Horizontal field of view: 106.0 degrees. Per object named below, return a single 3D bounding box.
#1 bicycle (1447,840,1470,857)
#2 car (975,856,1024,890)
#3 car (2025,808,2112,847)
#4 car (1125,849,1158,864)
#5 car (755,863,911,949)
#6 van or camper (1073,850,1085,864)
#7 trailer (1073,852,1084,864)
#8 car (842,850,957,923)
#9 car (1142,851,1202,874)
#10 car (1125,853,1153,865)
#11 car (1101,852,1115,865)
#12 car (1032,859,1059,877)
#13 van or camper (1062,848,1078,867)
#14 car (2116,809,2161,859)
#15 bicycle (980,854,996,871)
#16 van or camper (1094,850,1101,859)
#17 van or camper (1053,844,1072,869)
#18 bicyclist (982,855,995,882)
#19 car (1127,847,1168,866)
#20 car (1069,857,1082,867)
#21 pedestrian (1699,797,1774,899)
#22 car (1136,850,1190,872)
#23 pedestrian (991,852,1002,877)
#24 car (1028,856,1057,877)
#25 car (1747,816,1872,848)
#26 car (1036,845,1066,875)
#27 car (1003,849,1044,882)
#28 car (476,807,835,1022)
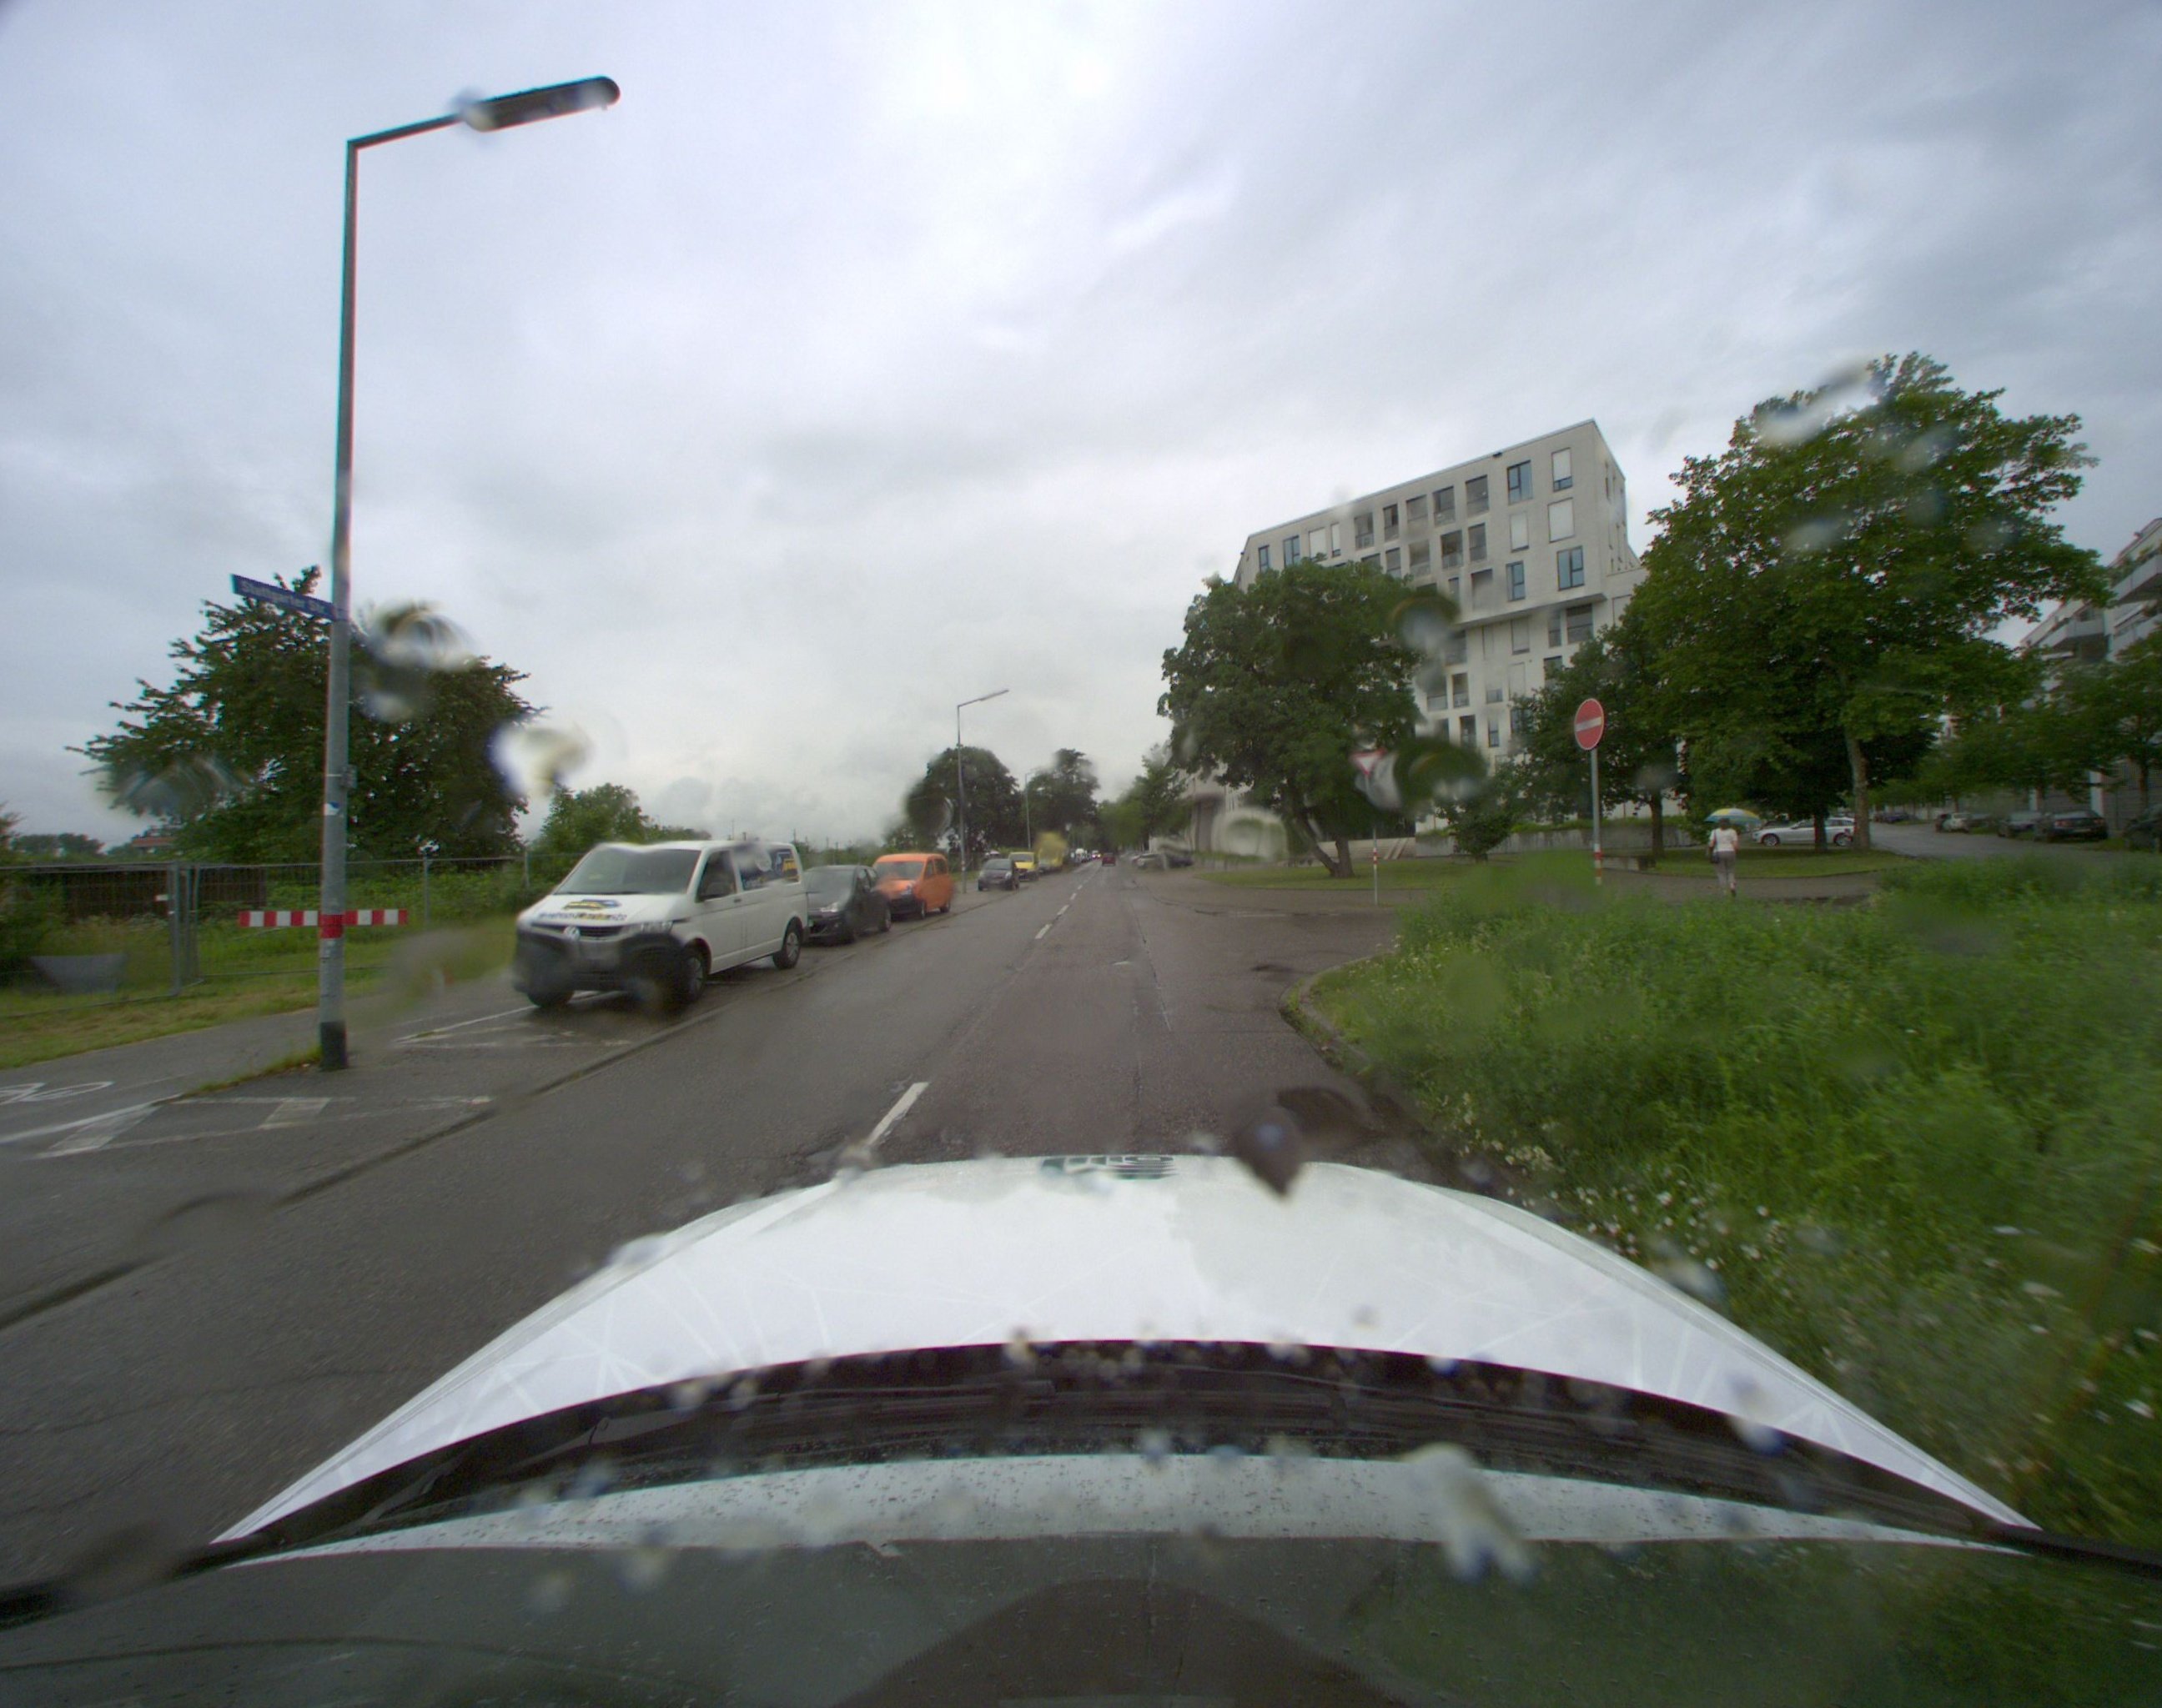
[{"bbox_3d":[23.762,-0.363,51.262,0.716,1.033,2.086,-3,-1,41],"label":"bicycle"},{"bbox_3d":[-3.945,0.900,40.014,1.797,1.561,4.035,0,0,2],"label":"car"},{"bbox_3d":[45.176,-1.243,37.354,1.752,1.548,4.171,-5,-1,40],"label":"car"},{"bbox_3d":[8.624,0.399,116.503,4.462,1.687,1.936,-6,0,0],"label":"car"},{"bbox_3d":[-5.141,1.001,17.651,1.677,1.502,4.894,-2,0,2],"label":"car"},{"bbox_3d":[-0.366,0.683,165.491,1.986,2.762,7.902,-1,0,2],"label":"van or camper"},{"bbox_3d":[-0.418,0.748,151.348,2.052,2.218,5.794,-1,0,0],"label":"trailer"},{"bbox_3d":[-4.942,0.832,22.851,1.931,1.767,4.335,-2,0,4],"label":"car"},{"bbox_3d":[7.353,0.671,65.850,4.555,1.497,1.826,-5,-1,0],"label":"car"},{"bbox_3d":[8.611,0.721,121.309,3.973,1.509,1.685,-4,1,1],"label":"car"},{"bbox_3d":[3.641,0.590,110.203,1.748,1.706,4.004,-2,0,3],"label":"car"},{"bbox_3d":[-3.017,1.181,70.343,2.003,1.434,5.341,0,-1,1],"label":"car"},{"bbox_3d":[-1.569,0.520,116.417,2.087,2.716,7.573,0,-1,0],"label":"van or camper"},{"bbox_3d":[35.374,-0.702,26.226,1.712,1.548,4.025,-3,0,41],"label":"car"},{"bbox_3d":[-6.255,0.566,54.863,0.713,1.042,2.146,-2,0,2],"label":"bicycle"},{"bbox_3d":[4.952,0.166,244.882,1.985,2.497,7.183,-3,0,3],"label":"van or camper"},{"bbox_3d":[-2.279,0.353,101.061,2.087,3.094,6.424,0,-1,1],"label":"van or camper"},{"bbox_3d":[-6.244,0.965,54.912,0.695,1.829,1.009,-2,0,2],"label":"bicyclist"},{"bbox_3d":[7.703,0.288,94.797,4.527,1.685,1.885,-7,-1,-1],"label":"car"},{"bbox_3d":[-0.795,1.274,129.157,1.767,1.502,4.830,0,0,2],"label":"car"},{"bbox_3d":[13.410,-0.127,16.677,0.961,2.013,0.623,-3,0,2],"label":"pedestrian"},{"bbox_3d":[7.211,0.600,71.824,4.471,1.481,1.692,-5,-1,1],"label":"car"},{"bbox_3d":[-6.867,0.823,66.189,0.739,2.013,0.981,-1,0,2],"label":"pedestrian"},{"bbox_3d":[-3.004,1.005,65.007,1.986,1.594,5.018,0,-1,1],"label":"car"},{"bbox_3d":[37.649,-1.105,42.208,4.775,1.507,1.635,0,1,43],"label":"car"},{"bbox_3d":[-2.781,0.580,76.762,2.182,2.694,6.087,0,0,4],"label":"car"},{"bbox_3d":[-3.626,0.713,52.717,2.009,1.956,6.067,-1,0,2],"label":"car"},{"bbox_3d":[-5.413,0.647,11.529,1.935,2.236,5.559,-2,0,2],"label":"car"}]
